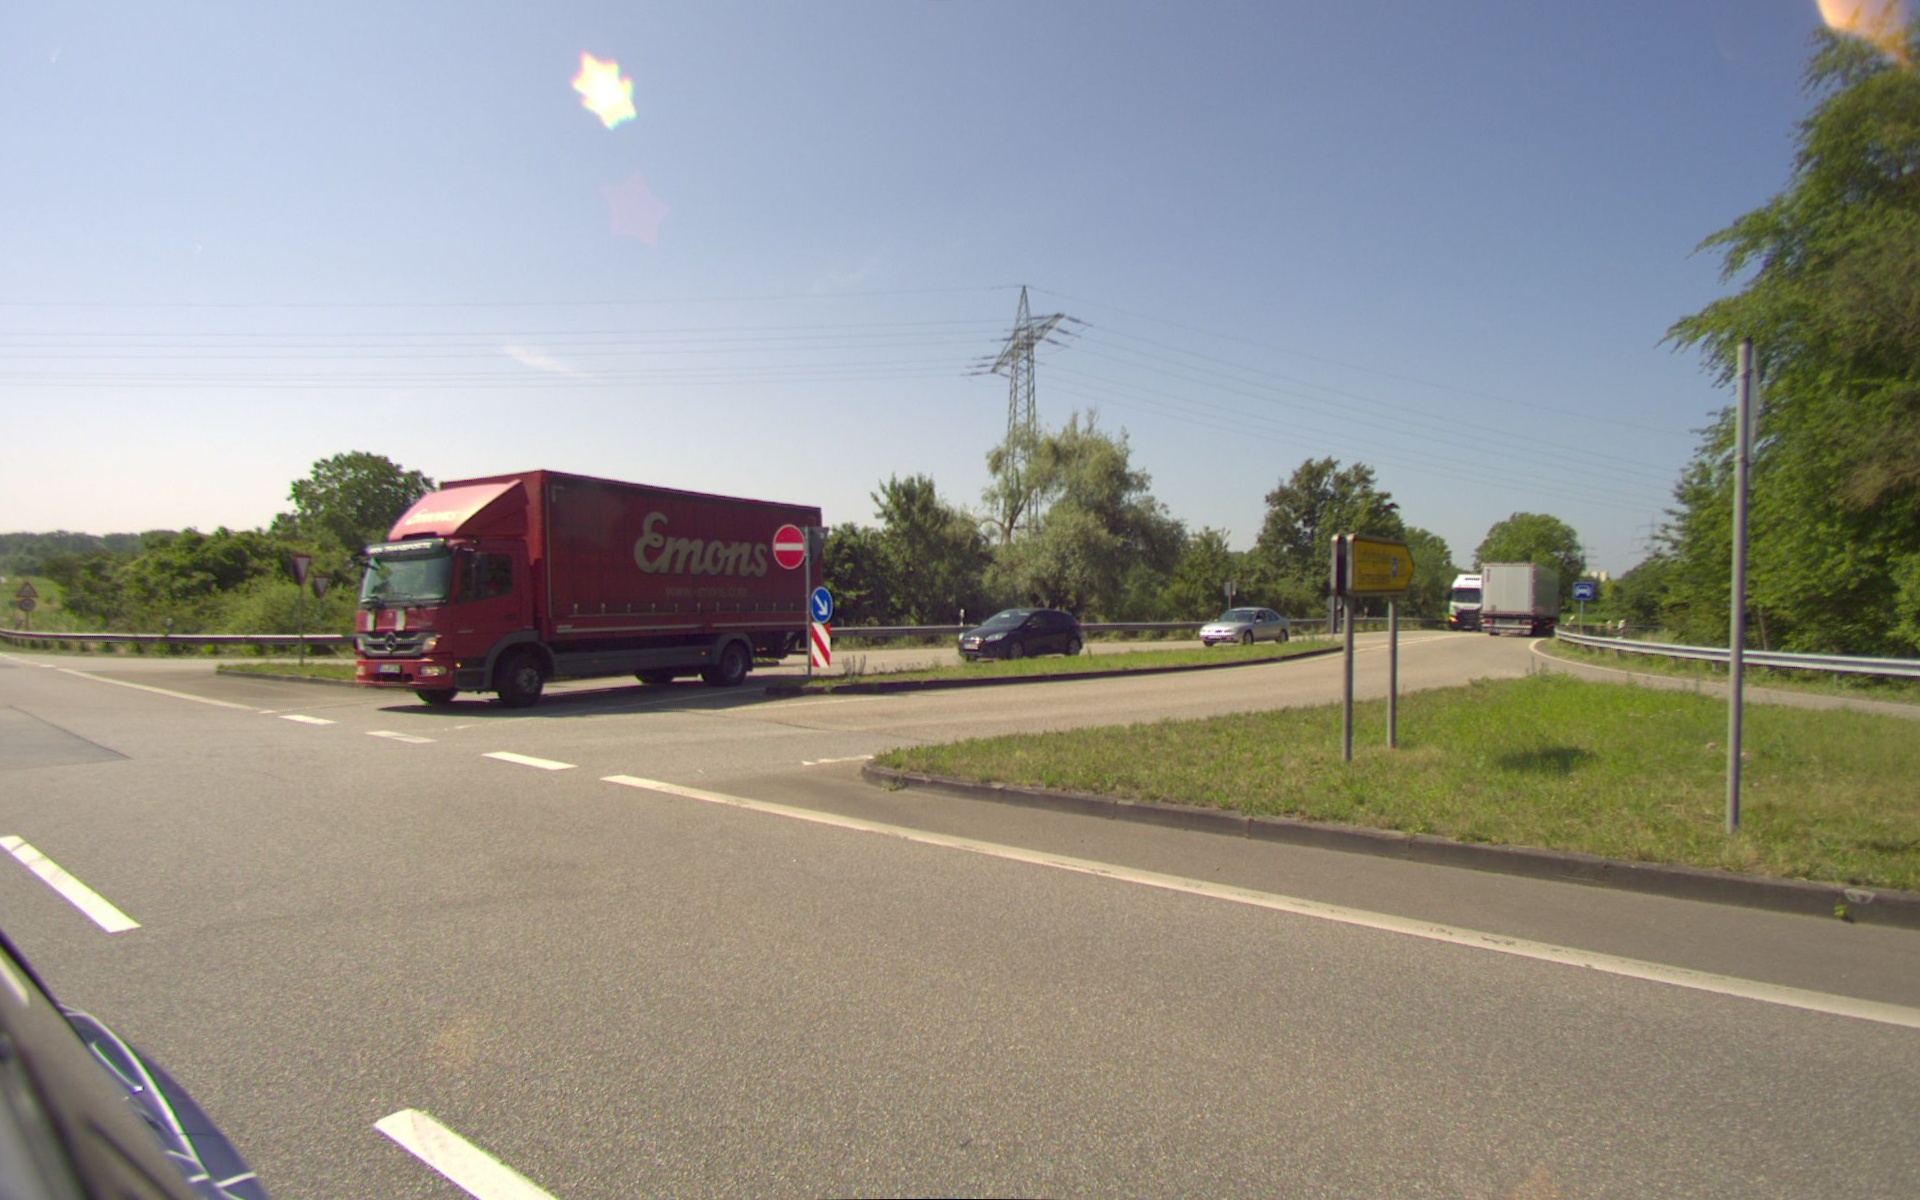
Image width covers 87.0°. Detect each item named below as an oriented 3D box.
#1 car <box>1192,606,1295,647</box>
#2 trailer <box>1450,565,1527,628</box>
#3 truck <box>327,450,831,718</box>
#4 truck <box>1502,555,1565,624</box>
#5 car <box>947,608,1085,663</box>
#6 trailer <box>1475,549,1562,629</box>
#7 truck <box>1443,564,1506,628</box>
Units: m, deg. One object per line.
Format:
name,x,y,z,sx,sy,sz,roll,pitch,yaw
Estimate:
car,10.424,0.930,37.028,1.789,1.396,4.314,-1,-1,45
trailer,39.815,-0.201,75.933,2.926,4.272,13.807,2,1,36
truck,-6.176,-0.168,18.630,2.680,3.689,9.170,-1,-1,29
truck,36.827,-0.617,64.868,2.874,4.205,5.898,-1,0,36
car,1.619,0.943,28.095,1.788,1.425,3.944,-1,-1,42
trailer,33.086,-0.606,59.603,2.890,4.197,13.812,-1,0,36
truck,36.084,-0.258,70.871,2.936,4.269,5.661,2,1,37
